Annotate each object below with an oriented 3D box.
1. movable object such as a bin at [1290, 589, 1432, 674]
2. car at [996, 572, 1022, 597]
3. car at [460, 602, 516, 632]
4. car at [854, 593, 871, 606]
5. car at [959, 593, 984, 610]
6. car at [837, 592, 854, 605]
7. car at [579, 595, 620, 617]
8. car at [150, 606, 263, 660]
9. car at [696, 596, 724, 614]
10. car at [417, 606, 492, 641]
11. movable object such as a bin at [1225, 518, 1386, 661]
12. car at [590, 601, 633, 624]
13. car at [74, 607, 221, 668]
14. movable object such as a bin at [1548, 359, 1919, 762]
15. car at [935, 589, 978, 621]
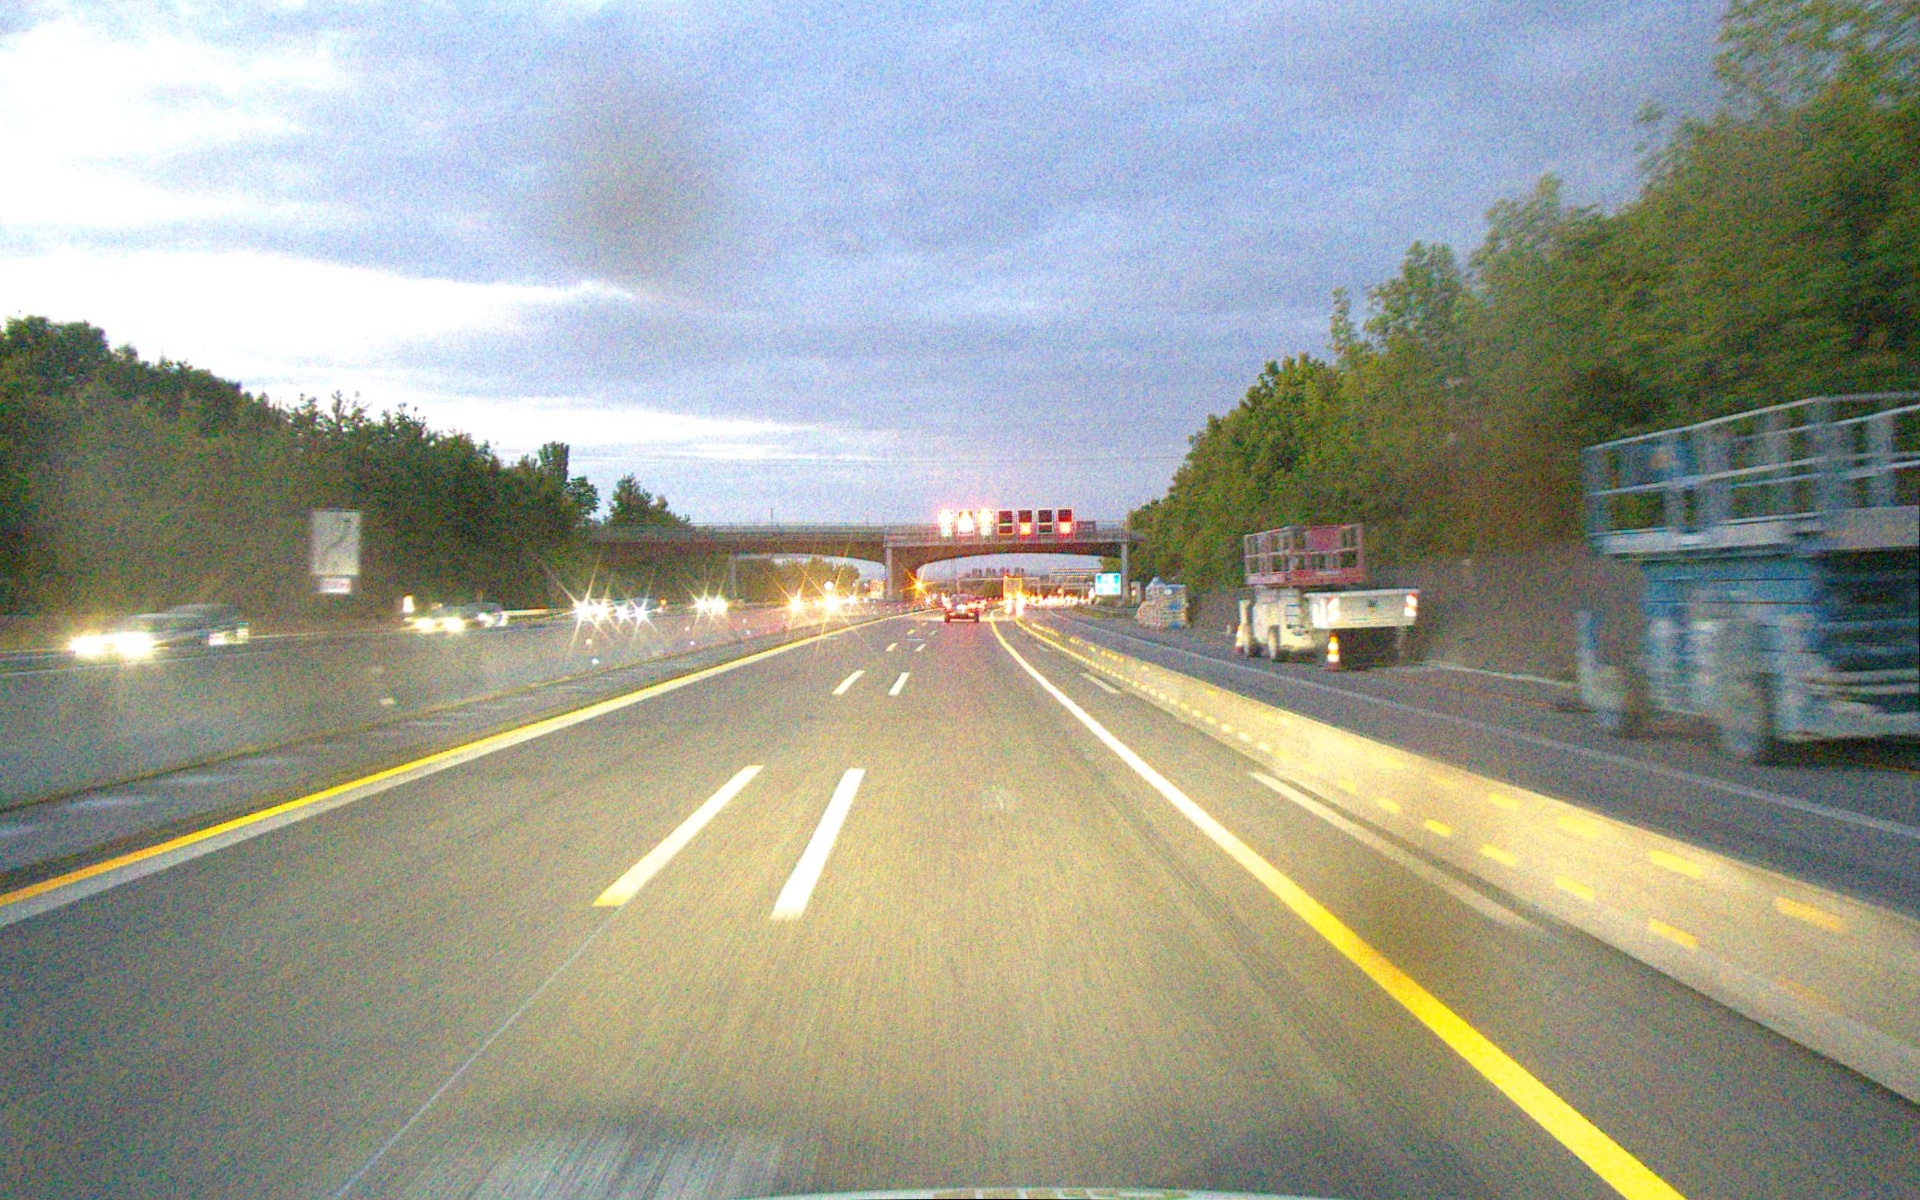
[{"bbox_3d":[8.338,0.639,34.759,1.953,1.629,4.084,-2,-1,0],"label":"movable object such as a bin"},{"bbox_3d":[7.086,-2.179,239.142,3.531,3.455,8.014,1,0,1],"label":"car"},{"bbox_3d":[-24.949,0.896,87.491,1.630,1.534,4.179,1,0,1],"label":"car"},{"bbox_3d":[-12.859,-0.053,218.661,1.700,1.666,4.892,1,0,2],"label":"car"},{"bbox_3d":[1.080,0.185,148.977,1.930,1.462,4.002,1,0,5],"label":"car"},{"bbox_3d":[-15.088,-0.245,217.845,1.558,1.632,5.036,1,0,3],"label":"car"},{"bbox_3d":[-25.965,0.436,119.178,1.788,1.511,4.702,1,0,1],"label":"car"},{"bbox_3d":[-25.650,1.085,56.478,1.715,1.752,4.669,1,0,-1],"label":"car"},{"bbox_3d":[-23.674,0.489,156.582,1.767,1.666,4.752,1,0,2],"label":"car"},{"bbox_3d":[-22.185,1.010,72.742,1.714,1.480,4.671,1,0,1],"label":"car"},{"bbox_3d":[8.158,-0.232,39.721,2.567,3.162,5.804,-1,0,-1],"label":"movable object such as a bin"},{"bbox_3d":[-23.666,0.823,112.566,1.773,1.511,4.702,1,0,1],"label":"car"},{"bbox_3d":[-23.007,1.028,47.044,1.770,1.616,4.876,1,0,-1],"label":"car"},{"bbox_3d":[8.270,-0.340,16.765,2.512,3.376,5.578,-1,0,-1],"label":"movable object such as a bin"},{"bbox_3d":[-0.214,0.271,88.225,2.219,1.650,3.999,1,0,-1],"label":"car"}]
